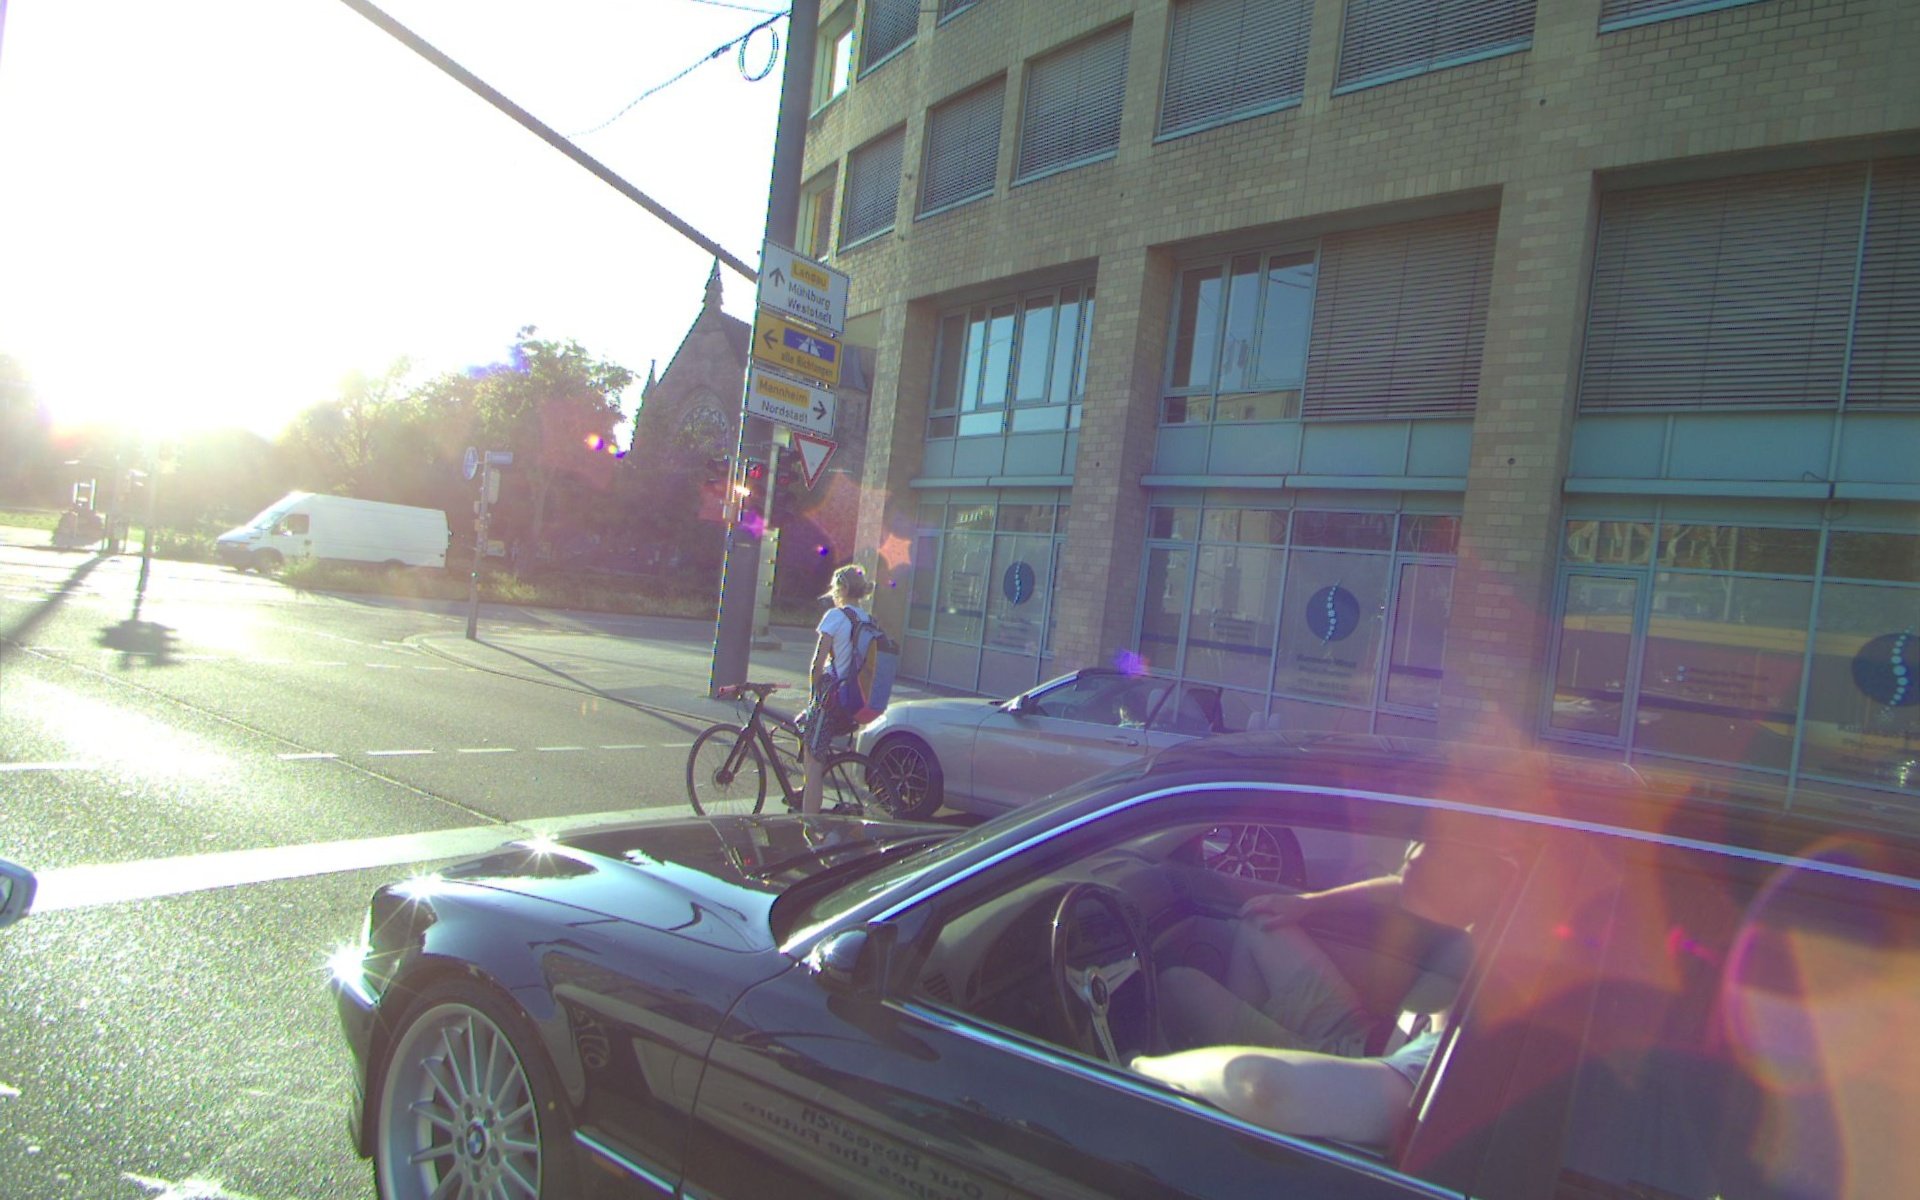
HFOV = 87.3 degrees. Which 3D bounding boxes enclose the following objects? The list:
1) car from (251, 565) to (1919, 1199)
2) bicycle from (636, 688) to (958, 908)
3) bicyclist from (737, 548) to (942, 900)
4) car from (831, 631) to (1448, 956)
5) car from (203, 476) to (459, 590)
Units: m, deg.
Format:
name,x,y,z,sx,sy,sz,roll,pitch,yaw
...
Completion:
name,x,y,z,sx,sy,sz,roll,pitch,yaw
car,0.875,0.937,2.011,4.661,1.402,1.997,7,-1,32
bicycle,-1.003,1.100,6.003,1.838,0.884,0.634,7,0,30
bicyclist,-0.697,0.680,5.866,0.764,1.843,0.634,7,1,30
car,1.260,1.233,7.656,4.157,1.401,1.747,7,-1,32
car,-21.248,-2.171,34.446,2.059,2.862,7.017,7,0,33
